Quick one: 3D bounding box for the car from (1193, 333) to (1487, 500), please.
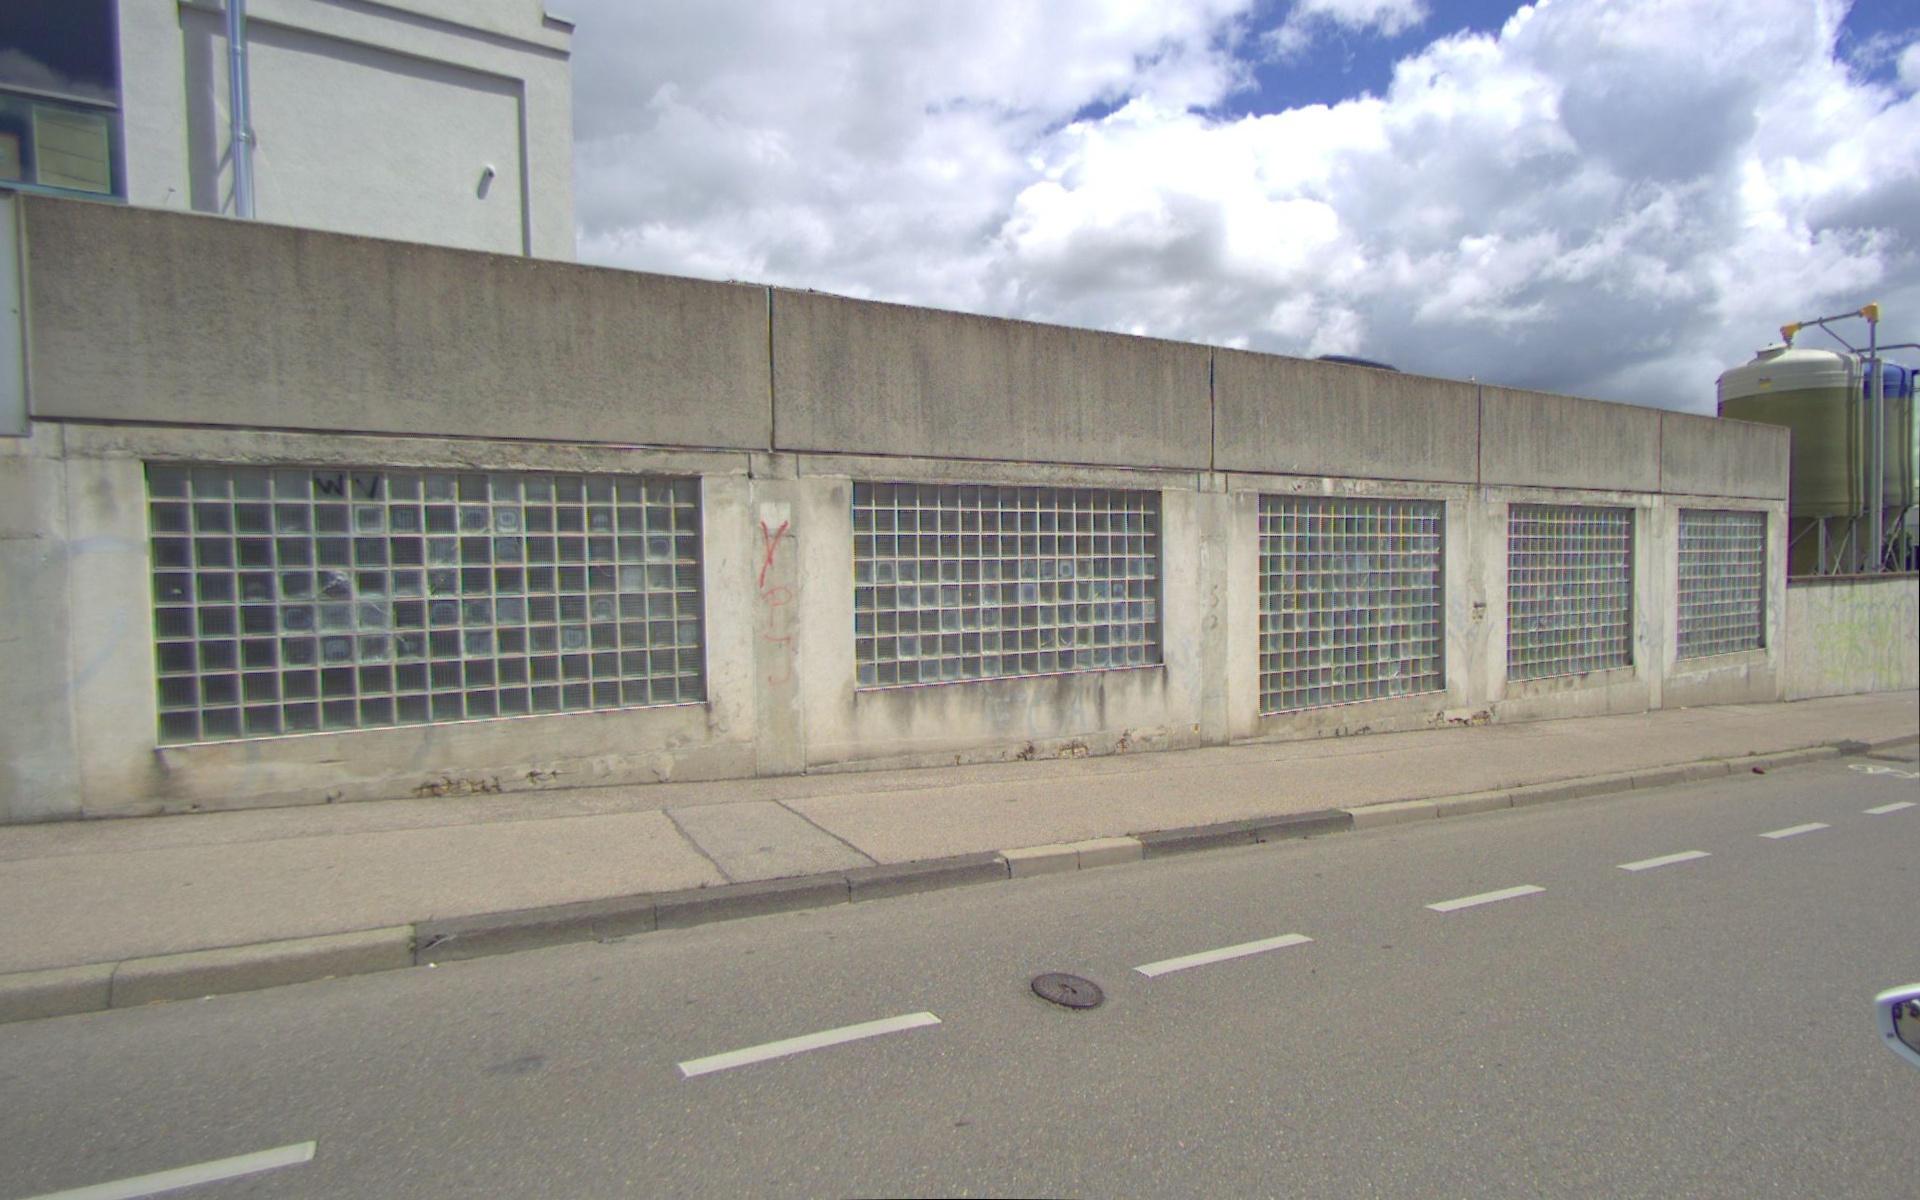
[{"bbox_3d":[5.502,-2.487,14.444,4.057,1.658,1.797,2,1,-31],"label":"car"}]

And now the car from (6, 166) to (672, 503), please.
[{"bbox_3d":[-4.585,-1.813,8.028,4.057,1.658,1.797,2,1,-31],"label":"car"}]
